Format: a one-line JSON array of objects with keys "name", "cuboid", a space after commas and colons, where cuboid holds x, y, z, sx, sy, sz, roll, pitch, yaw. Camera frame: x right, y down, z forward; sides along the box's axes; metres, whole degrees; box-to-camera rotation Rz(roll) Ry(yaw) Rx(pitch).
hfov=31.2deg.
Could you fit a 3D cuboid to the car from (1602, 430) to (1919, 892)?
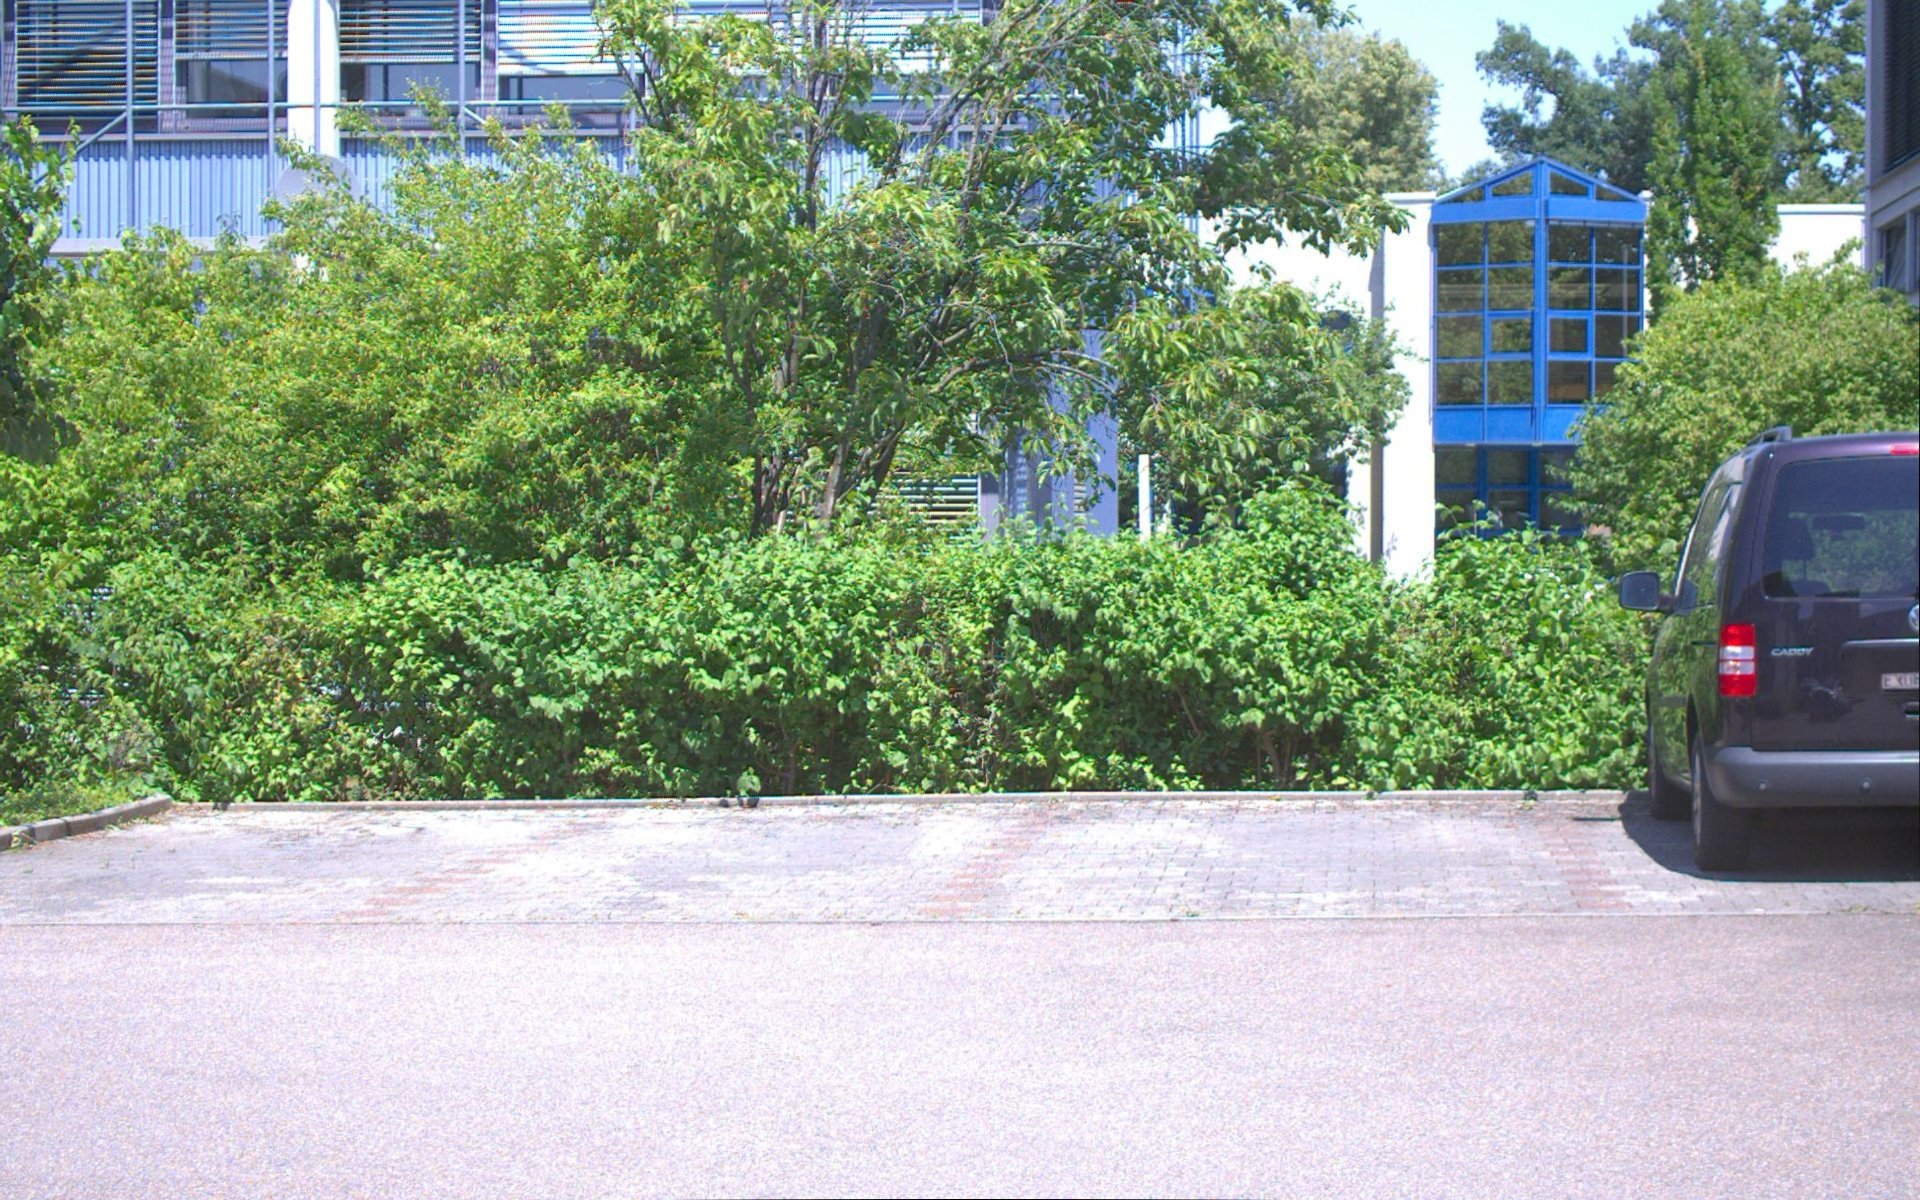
[{"name": "car", "cuboid": [3.987, 0.192, 15.649, 1.743, 1.830, 3.999, -1, 1, 6]}]
